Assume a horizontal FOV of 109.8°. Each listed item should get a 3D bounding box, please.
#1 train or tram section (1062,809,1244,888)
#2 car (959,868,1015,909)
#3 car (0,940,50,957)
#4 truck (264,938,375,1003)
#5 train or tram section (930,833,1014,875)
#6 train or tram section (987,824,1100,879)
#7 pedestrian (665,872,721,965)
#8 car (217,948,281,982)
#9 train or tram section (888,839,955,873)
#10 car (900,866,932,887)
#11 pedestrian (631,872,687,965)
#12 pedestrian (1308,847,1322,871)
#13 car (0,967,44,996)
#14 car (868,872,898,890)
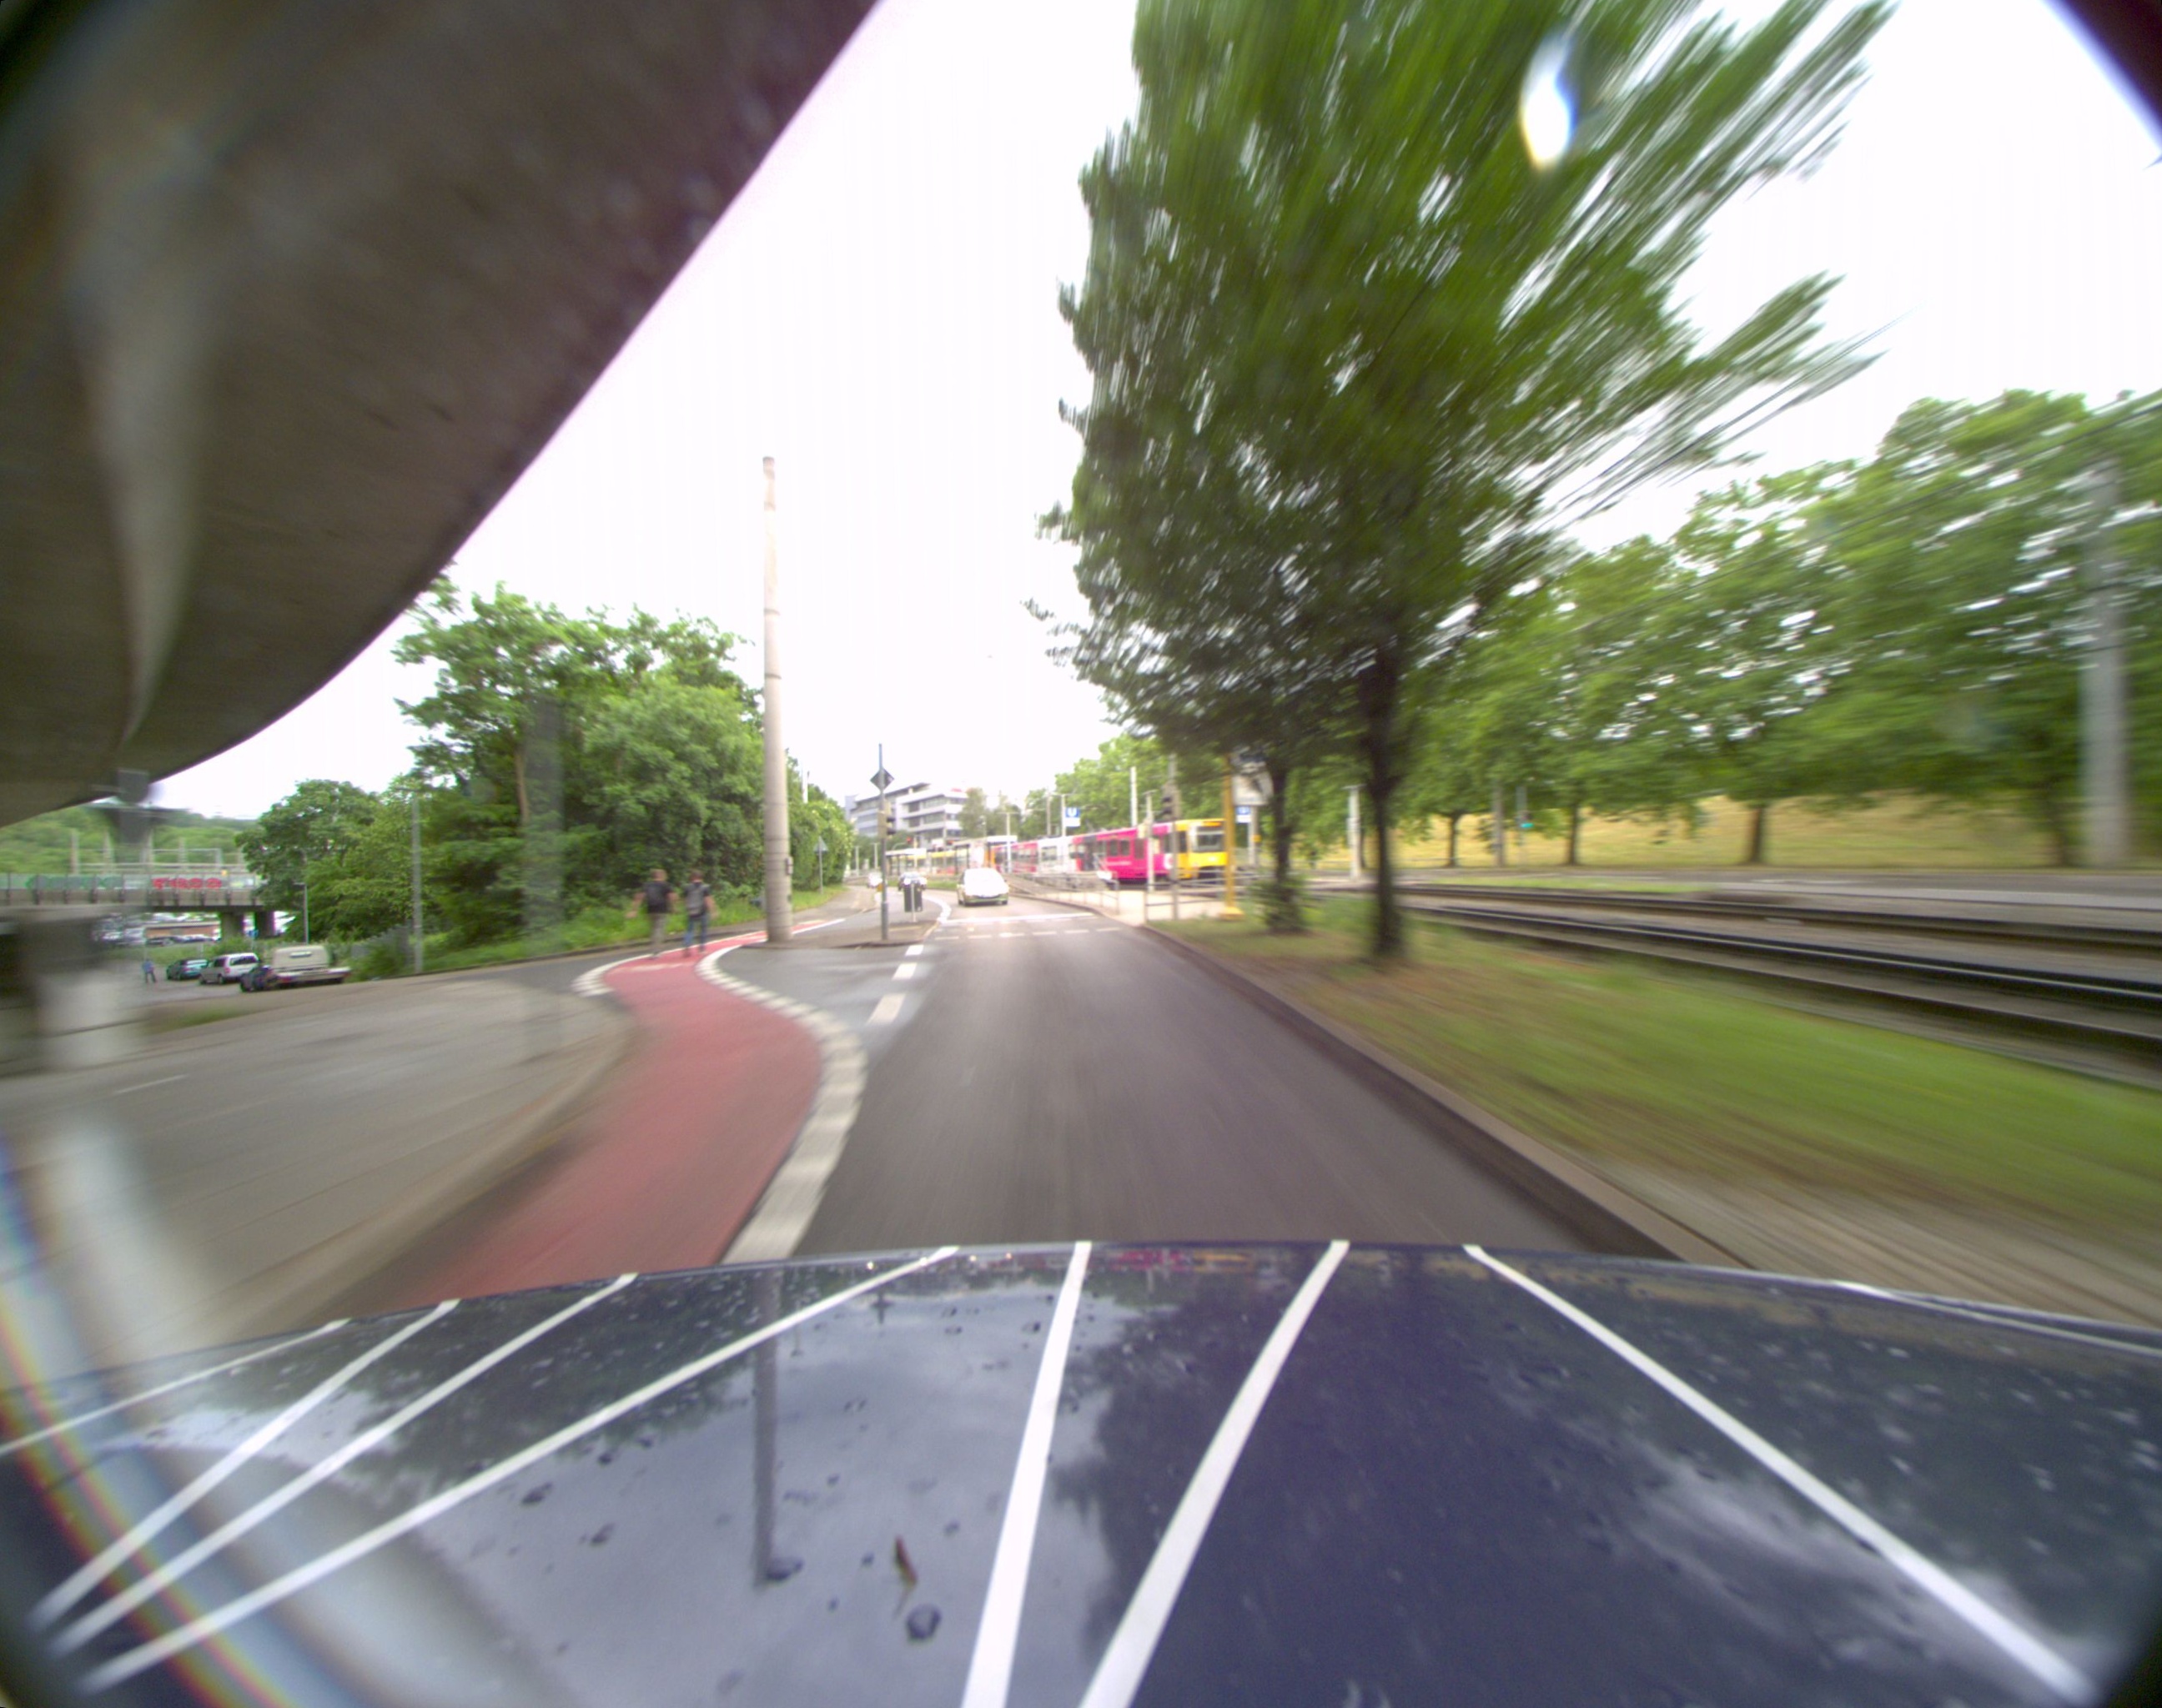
[{"bbox_3d":[3.577,-0.255,48.241,2.879,3.938,19.296,-4,1,-21],"label":"train or tram section"},{"bbox_3d":[-3.945,1.364,31.453,1.782,1.493,3.995,-1,0,-15],"label":"car"},{"bbox_3d":[-122.513,10.914,87.723,3.767,1.485,1.772,-3,0,-36],"label":"car"},{"bbox_3d":[-32.265,4.811,32.119,5.748,2.002,2.713,-3,0,40],"label":"truck"},{"bbox_3d":[-12.375,0.120,83.265,2.880,3.931,19.290,-5,1,-27],"label":"train or tram section"},{"bbox_3d":[-3.848,-0.109,65.967,2.880,3.948,19.293,-5,1,-24],"label":"train or tram section"},{"bbox_3d":[-8.017,1.317,15.740,0.627,1.798,0.835,-4,2,-5],"label":"pedestrian"},{"bbox_3d":[-55.021,7.310,50.243,3.882,1.845,1.960,-3,0,30],"label":"car"},{"bbox_3d":[-21.339,0.385,100.283,2.881,3.950,19.288,-5,1,-29],"label":"train or tram section"},{"bbox_3d":[-13.122,1.747,60.386,1.784,1.493,3.992,-1,1,-23],"label":"car"},{"bbox_3d":[-8.694,1.302,15.701,0.599,1.812,0.909,-4,2,-9],"label":"pedestrian"},{"bbox_3d":[18.006,0.386,58.442,0.731,1.810,0.763,-3,1,-7],"label":"pedestrian"},{"bbox_3d":[-68.316,8.141,47.513,1.768,1.455,4.007,-3,0,35],"label":"car"},{"bbox_3d":[-19.841,2.656,75.880,2.002,1.563,3.991,-5,1,-27],"label":"car"}]
